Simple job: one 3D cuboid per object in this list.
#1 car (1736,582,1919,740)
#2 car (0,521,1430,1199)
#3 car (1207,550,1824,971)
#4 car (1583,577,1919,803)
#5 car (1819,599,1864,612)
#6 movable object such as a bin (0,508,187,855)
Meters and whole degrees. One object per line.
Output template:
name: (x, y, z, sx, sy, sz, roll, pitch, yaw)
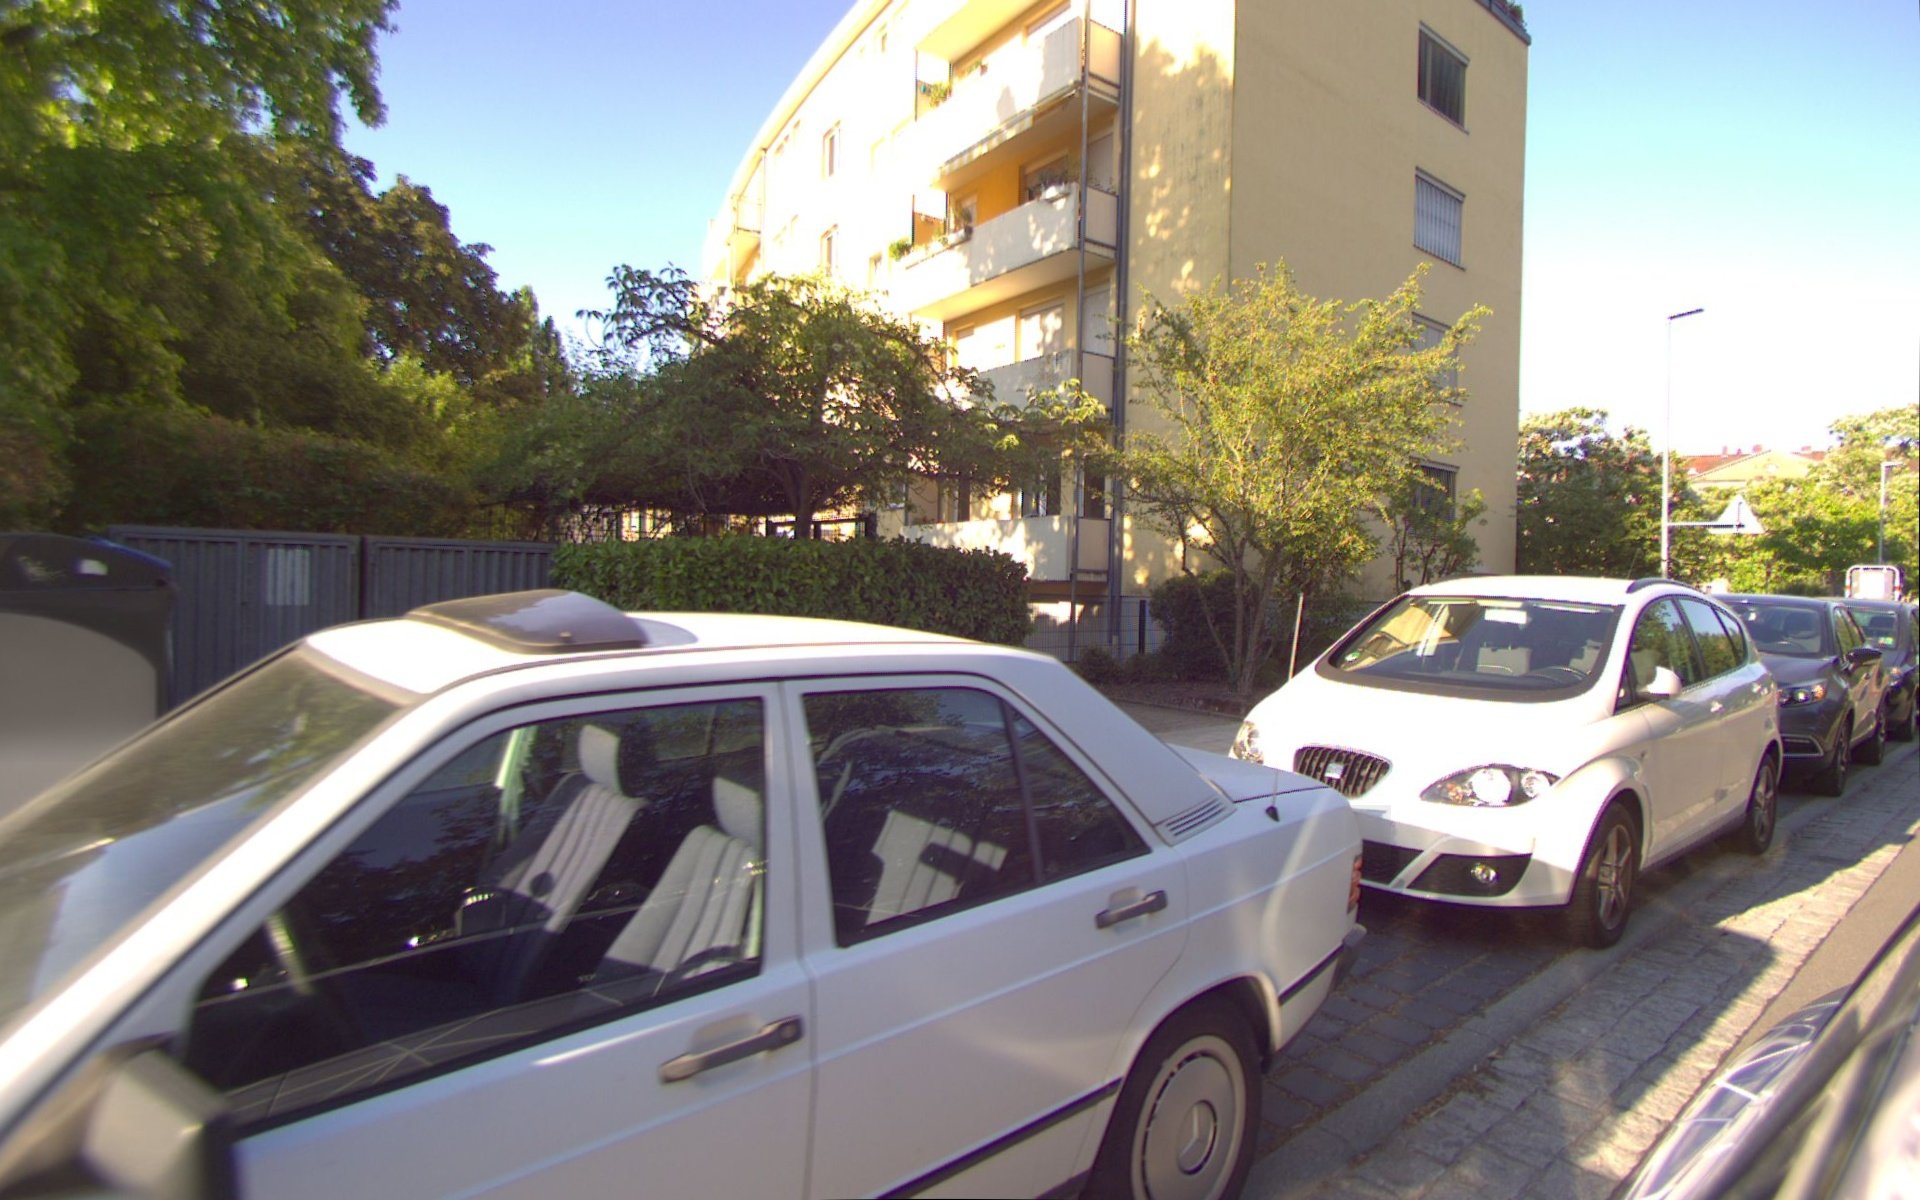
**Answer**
car: (11.354, 0.659, 12.765, 4.097, 1.630, 1.713, 0, 3, -42)
car: (-0.893, 0.601, 1.914, 4.297, 1.407, 1.567, 0, 2, -41)
car: (3.355, 0.583, 5.760, 4.056, 1.575, 1.683, 0, 2, -40)
car: (7.344, 0.633, 9.225, 4.072, 1.575, 1.682, 0, 2, -42)
car: (103.196, 0.673, 118.541, 3.675, 1.518, 1.707, 0, 0, 32)
movable object such as a bin: (-4.344, 0.335, 4.754, 1.103, 1.450, 1.240, 0, 0, -39)
